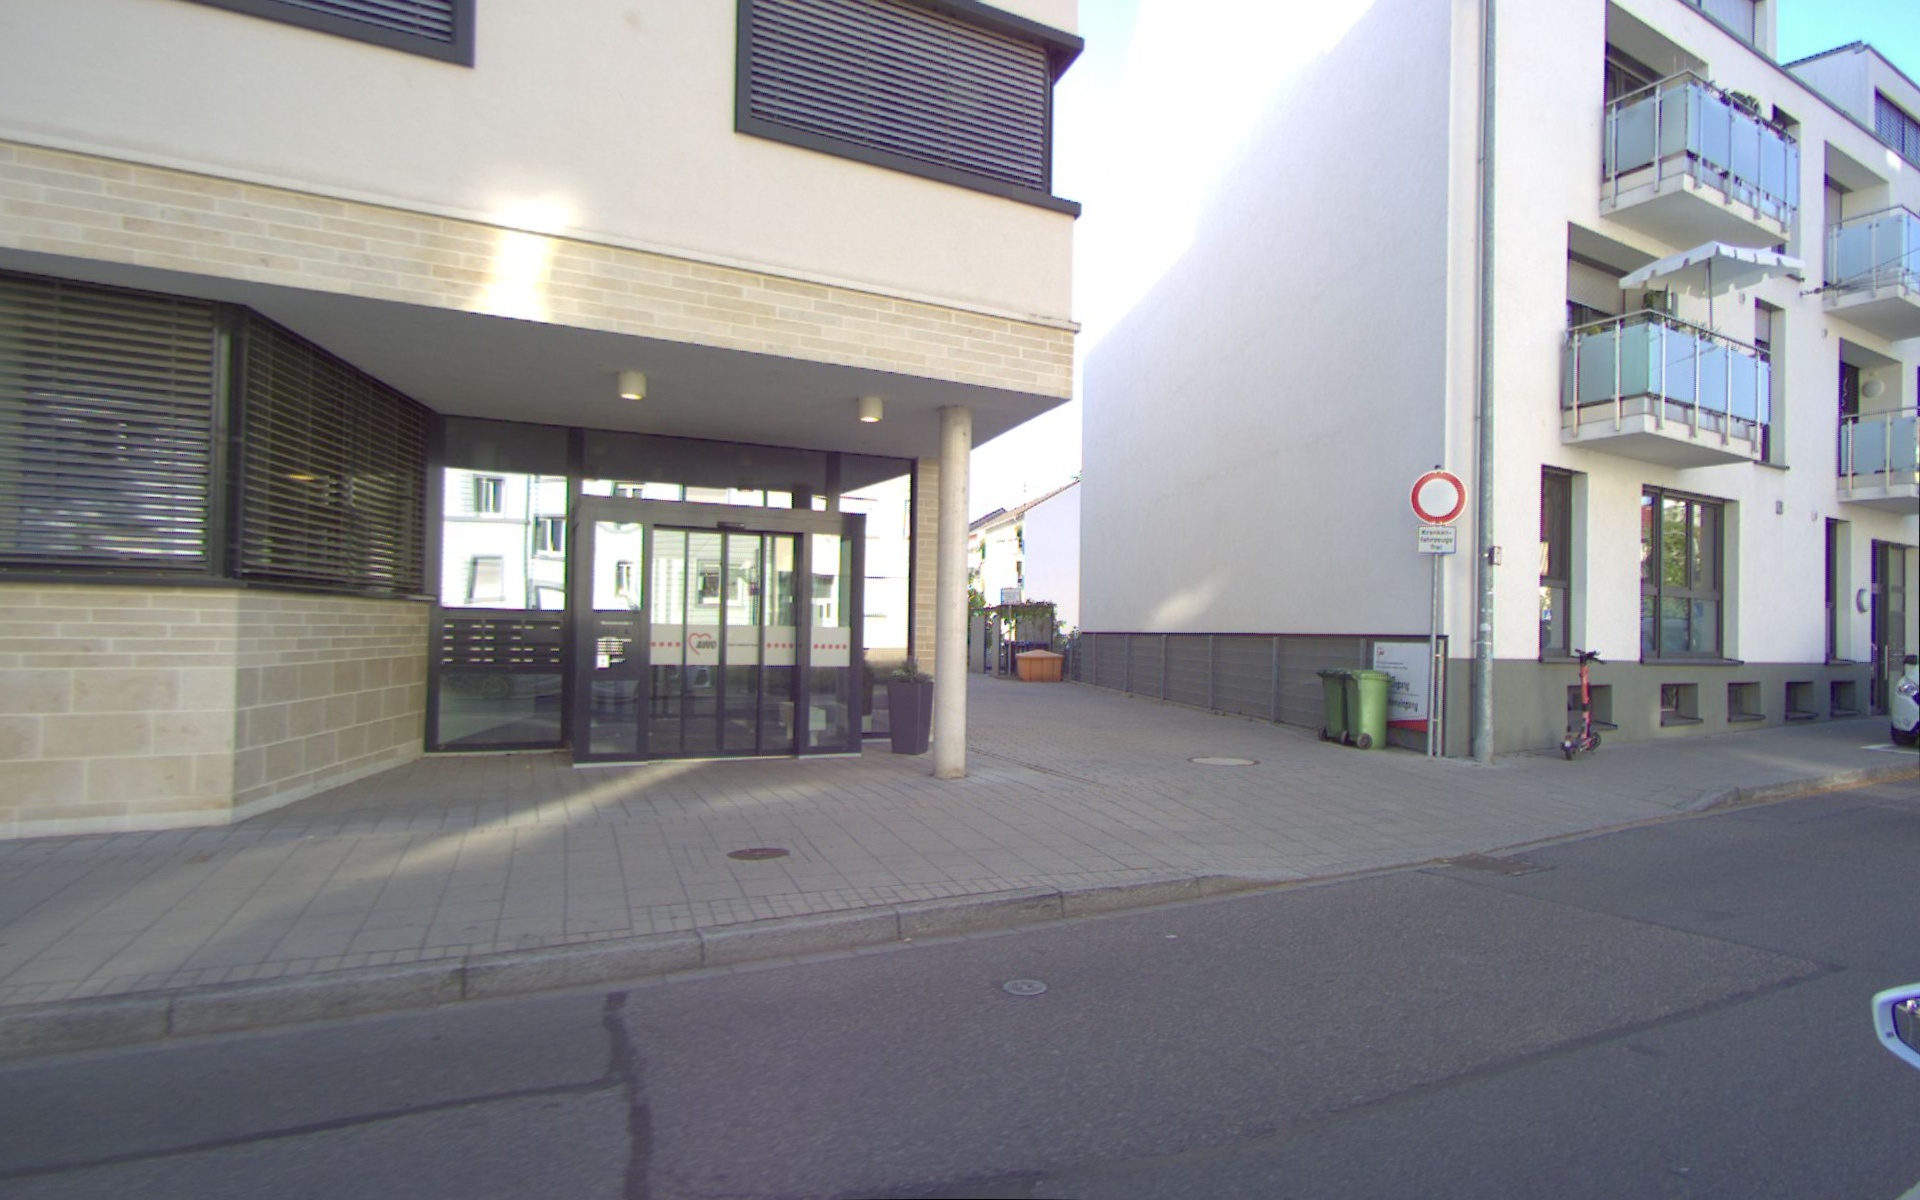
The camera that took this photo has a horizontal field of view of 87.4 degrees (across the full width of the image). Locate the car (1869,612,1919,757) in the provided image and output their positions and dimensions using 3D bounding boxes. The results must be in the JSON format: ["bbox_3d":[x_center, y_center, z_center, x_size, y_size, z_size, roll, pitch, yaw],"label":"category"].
[{"bbox_3d":[14.632,1.190,14.062,4.286,1.894,1.800,2,-1,-33],"label":"car"}]

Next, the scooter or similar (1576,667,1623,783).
[{"bbox_3d":[7.434,1.425,11.666,0.222,1.236,1.147,-1,-1,45],"label":"scooter or similar"}]

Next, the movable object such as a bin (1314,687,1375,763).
[{"bbox_3d":[4.874,1.574,12.740,0.520,0.913,0.549,1,-2,-7],"label":"movable object such as a bin"}]

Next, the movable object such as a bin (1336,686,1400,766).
[{"bbox_3d":[4.938,1.519,12.175,0.520,0.913,0.549,1,-2,-7],"label":"movable object such as a bin"}]
